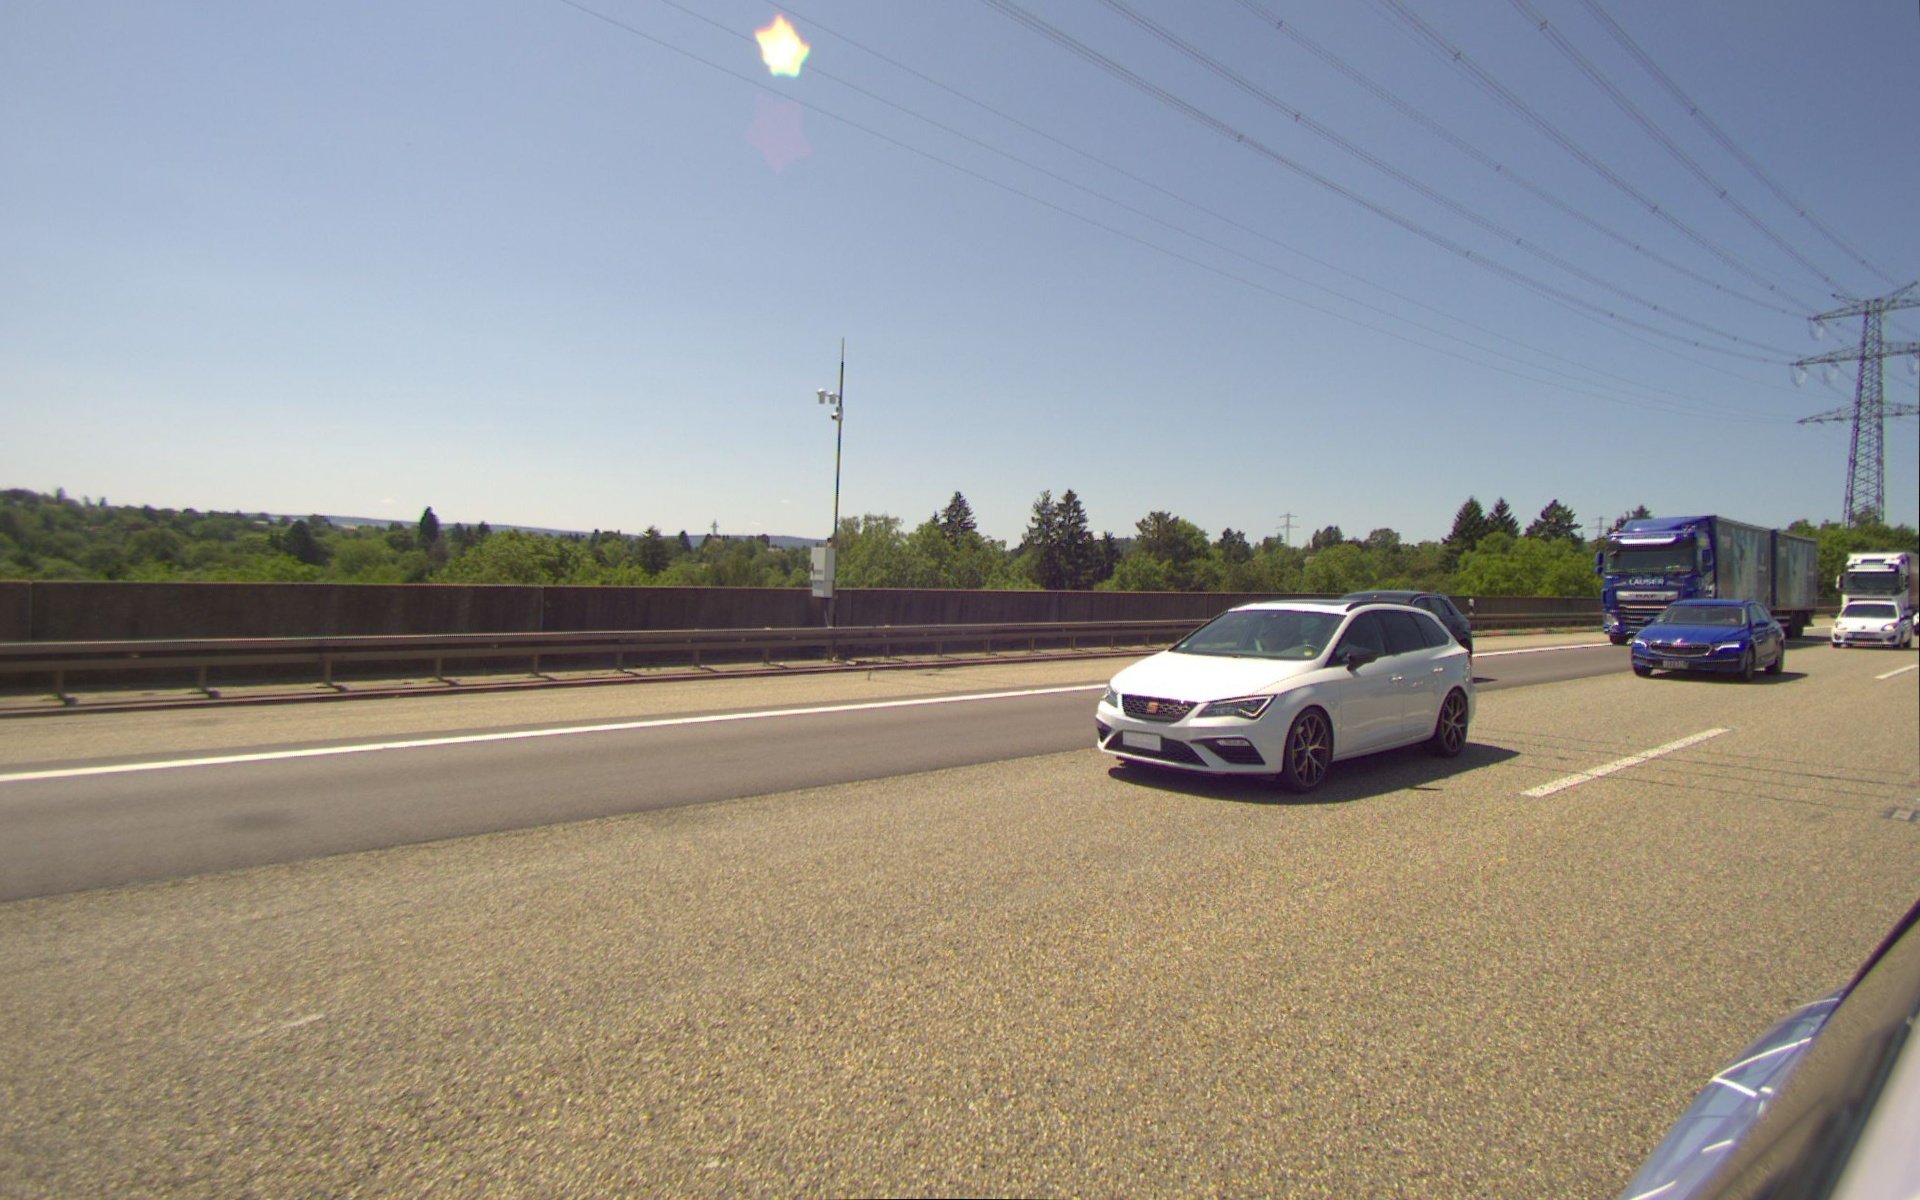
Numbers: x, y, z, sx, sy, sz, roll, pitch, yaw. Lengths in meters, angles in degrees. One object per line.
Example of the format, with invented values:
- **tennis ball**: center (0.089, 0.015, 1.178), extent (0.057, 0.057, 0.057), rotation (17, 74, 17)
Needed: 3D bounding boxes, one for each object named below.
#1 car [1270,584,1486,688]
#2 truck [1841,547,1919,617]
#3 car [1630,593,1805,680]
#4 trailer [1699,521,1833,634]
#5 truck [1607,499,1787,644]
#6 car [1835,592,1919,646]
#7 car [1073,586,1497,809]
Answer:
- **car**: center (7.105, 0.526, 17.026), extent (4.034, 1.546, 1.739), rotation (0, 0, -41)
- **truck**: center (52.420, -0.982, 56.820), extent (10.777, 3.604, 2.982), rotation (0, 0, -41)
- **car**: center (14.451, 0.611, 19.231), extent (4.135, 1.463, 1.739), rotation (0, 1, -40)
- **trailer**: center (31.451, -0.829, 39.352), extent (8.330, 3.994, 2.570), rotation (0, 1, -41)
- **truck**: center (24.411, -0.852, 33.226), extent (10.264, 4.118, 2.527), rotation (0, 1, -41)
- **car**: center (28.868, 0.552, 31.563), extent (4.022, 1.522, 1.762), rotation (0, 1, -40)
- **car**: center (2.999, 0.648, 8.910), extent (4.003, 1.508, 1.841), rotation (0, 0, -43)
